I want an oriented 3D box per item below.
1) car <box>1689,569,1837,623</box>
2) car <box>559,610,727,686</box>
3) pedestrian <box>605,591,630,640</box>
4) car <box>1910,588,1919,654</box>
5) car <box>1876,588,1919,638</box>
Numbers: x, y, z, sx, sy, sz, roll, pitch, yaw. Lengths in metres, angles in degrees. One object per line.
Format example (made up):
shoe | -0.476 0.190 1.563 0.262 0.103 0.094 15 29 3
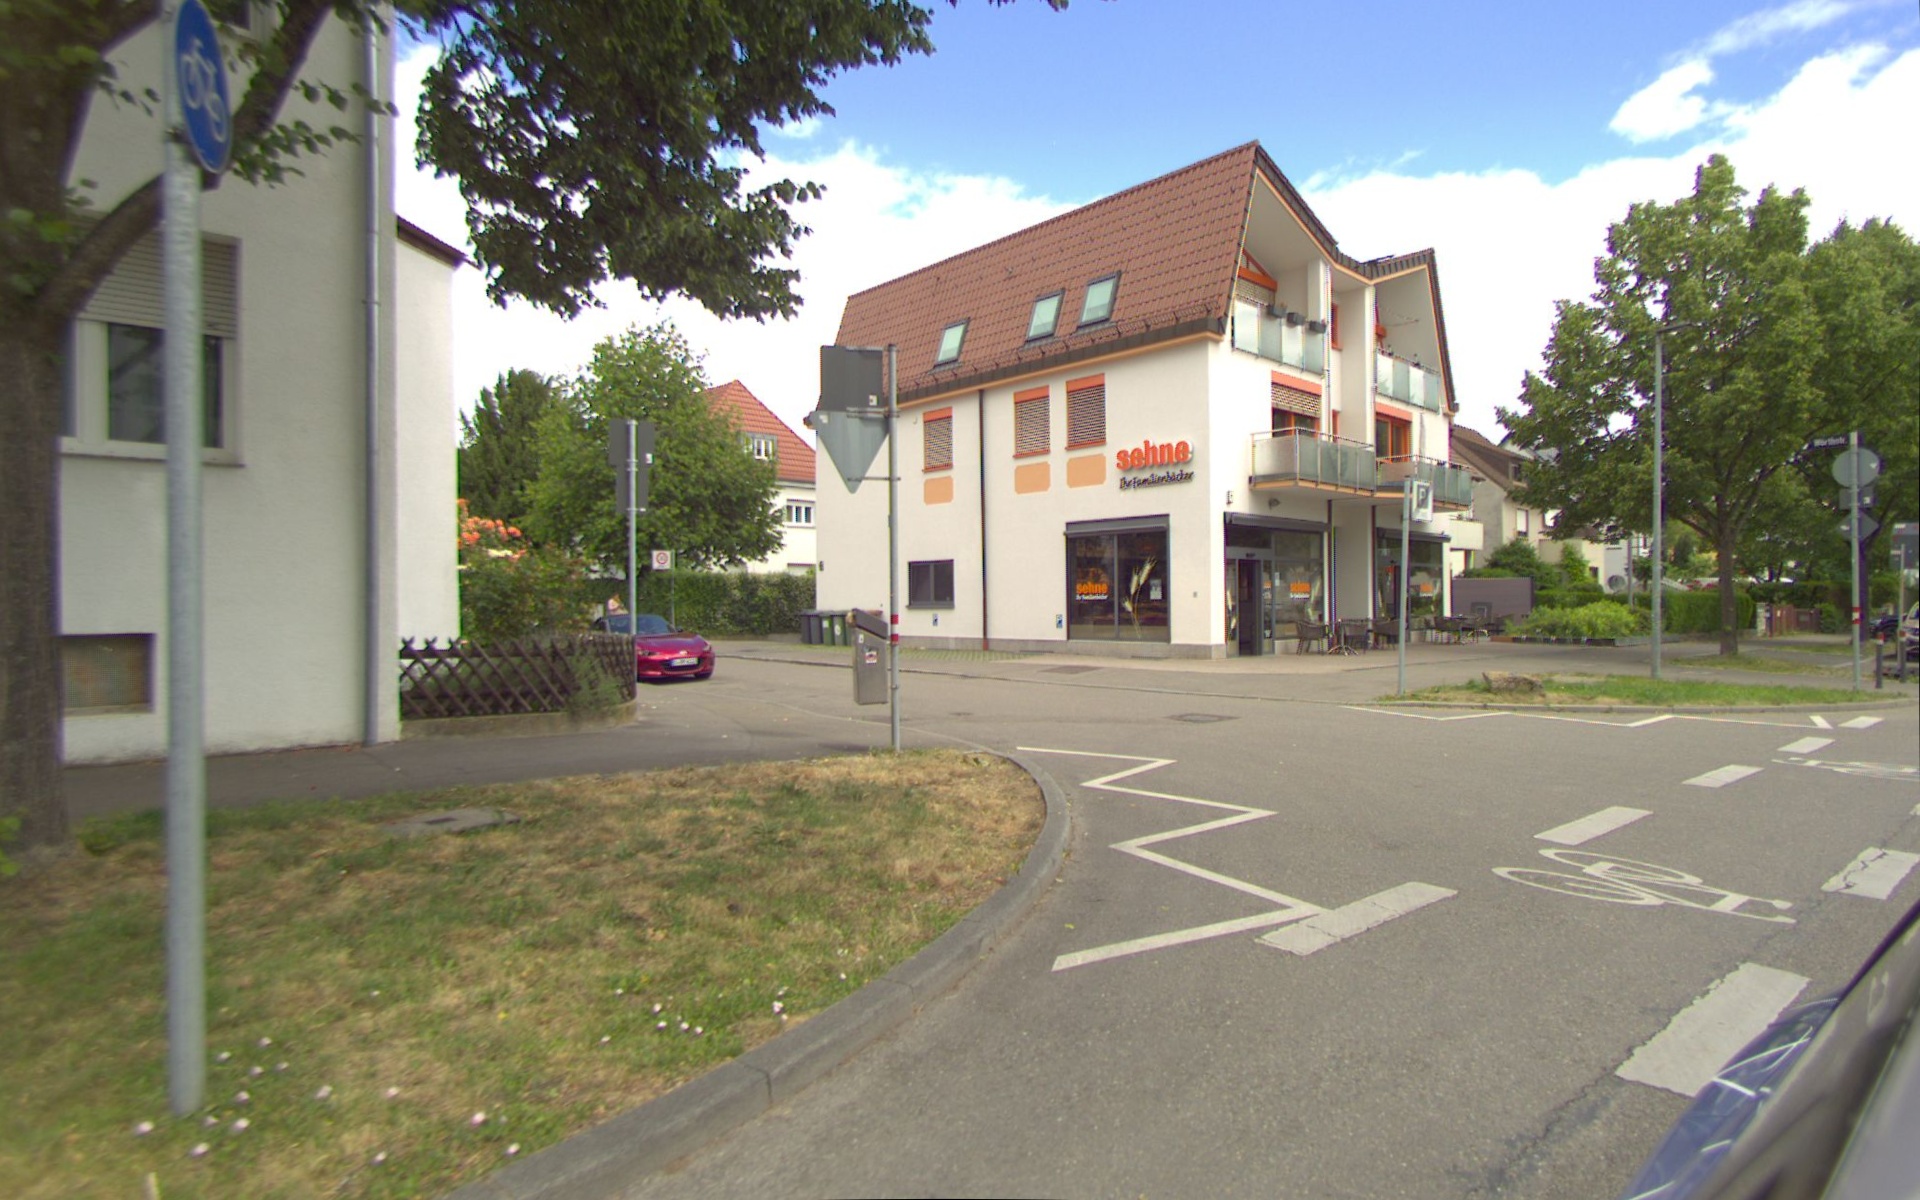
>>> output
car | 41.038 -0.180 51.842 1.964 2.625 5.719 1 -1 -43
car | -6.205 0.854 19.595 1.717 1.246 3.701 -3 1 -41
pedestrian | -11.451 0.511 33.799 0.552 1.577 0.576 -4 2 -40
car | 25.355 0.520 25.489 3.991 1.600 1.724 0 0 -42
car | 33.595 0.462 33.889 1.665 1.658 4.220 0 1 -44
